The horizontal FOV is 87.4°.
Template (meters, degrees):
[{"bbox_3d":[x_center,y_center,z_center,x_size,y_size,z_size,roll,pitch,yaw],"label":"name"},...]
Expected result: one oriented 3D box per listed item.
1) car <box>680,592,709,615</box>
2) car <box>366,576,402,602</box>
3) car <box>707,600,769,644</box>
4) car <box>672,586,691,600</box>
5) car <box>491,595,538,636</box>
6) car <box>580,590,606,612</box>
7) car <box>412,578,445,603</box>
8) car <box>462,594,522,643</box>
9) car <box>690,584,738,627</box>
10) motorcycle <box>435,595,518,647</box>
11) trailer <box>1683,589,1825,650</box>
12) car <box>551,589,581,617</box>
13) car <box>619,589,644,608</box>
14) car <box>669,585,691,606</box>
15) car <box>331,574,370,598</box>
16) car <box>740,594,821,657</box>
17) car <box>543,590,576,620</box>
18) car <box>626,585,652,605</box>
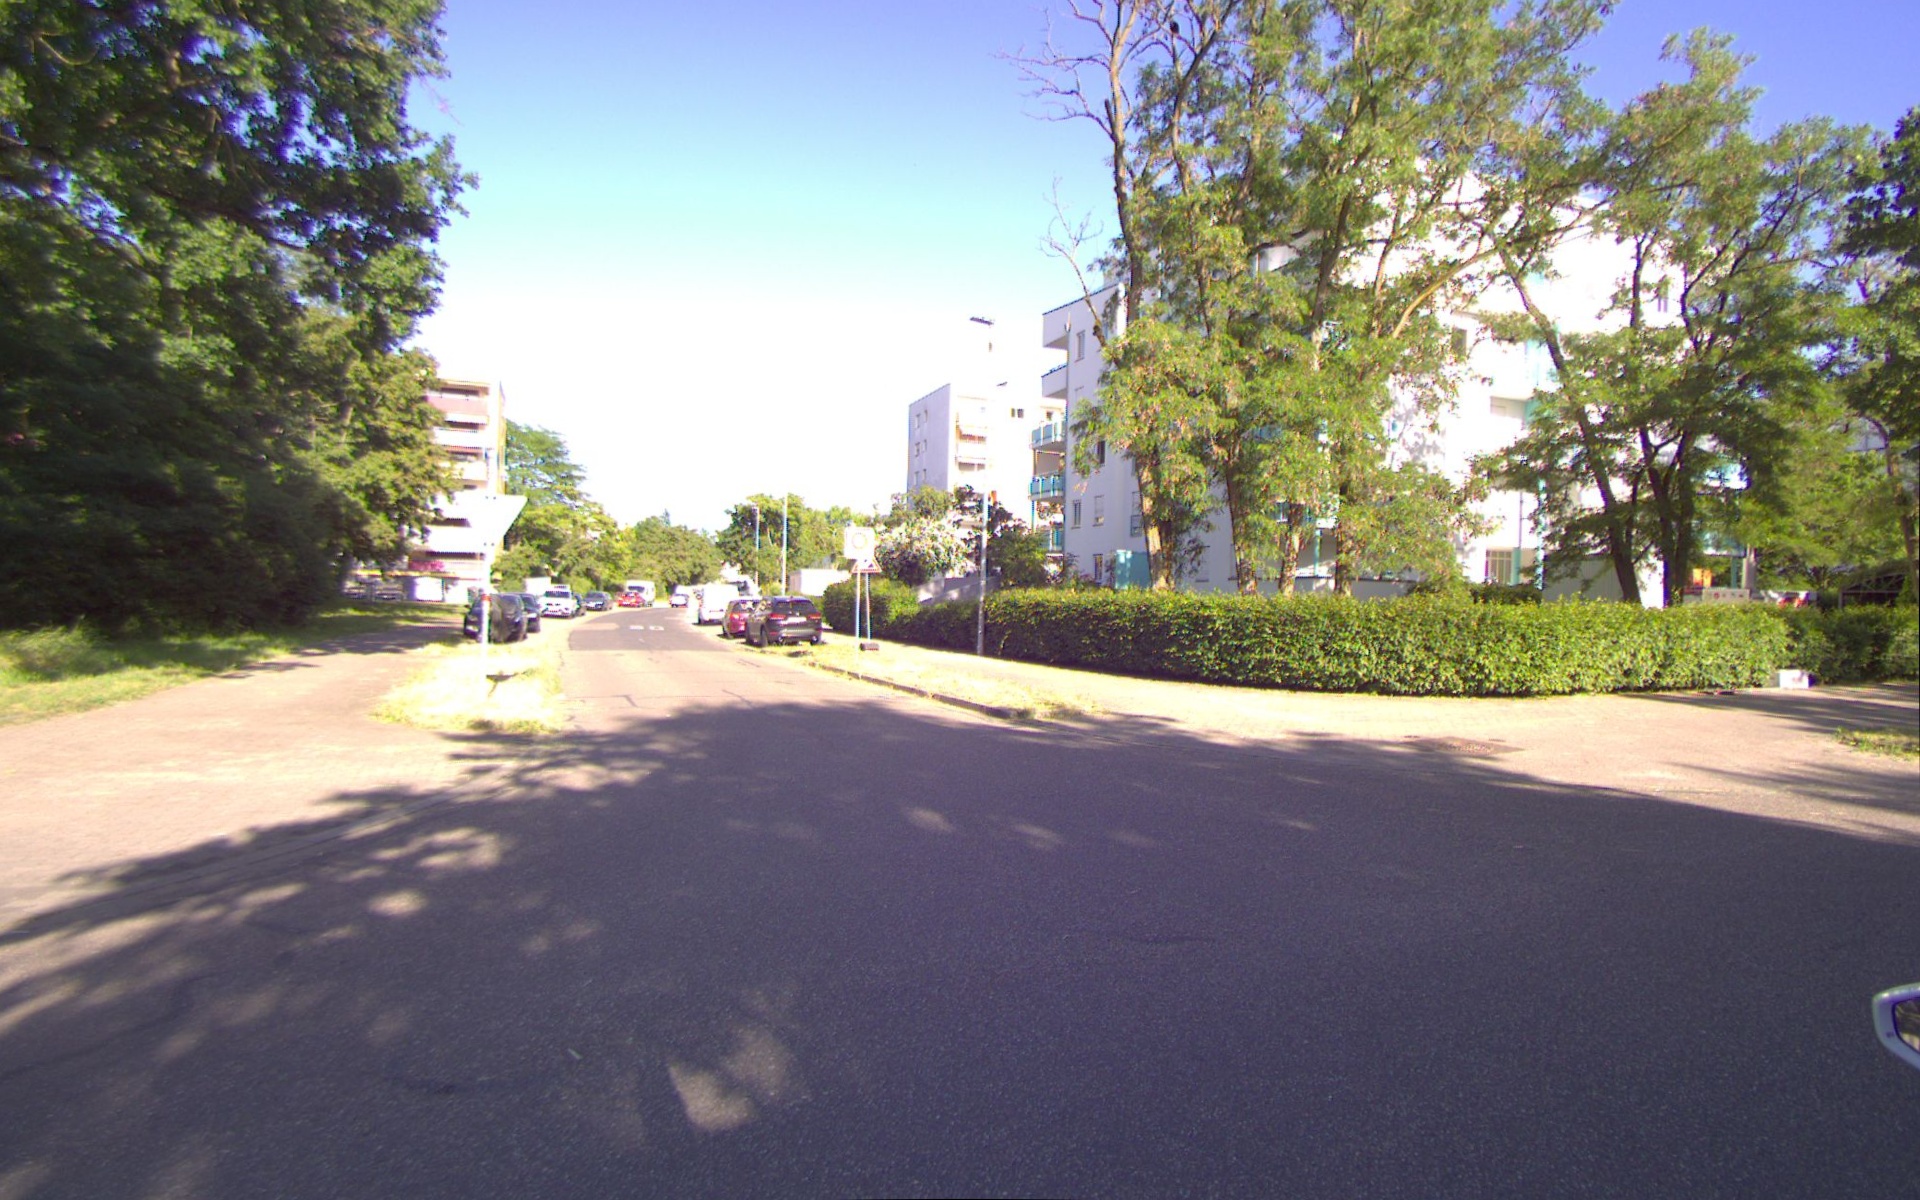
[{"bbox_3d":[-17.588,0.224,66.398,1.498,1.486,3.057,1,0,-22],"label":"car"},{"bbox_3d":[-41.321,-0.803,72.150,1.738,1.767,3.814,1,0,-23],"label":"car"},{"bbox_3d":[-8.495,0.809,38.185,1.615,1.531,3.814,1,0,-23],"label":"car"},{"bbox_3d":[-35.215,-0.874,127.093,1.860,1.662,3.992,1,0,-11],"label":"car"},{"bbox_3d":[-16.689,0.549,37.740,1.537,1.410,3.569,1,0,-23],"label":"car"},{"bbox_3d":[-27.456,0.067,75.113,1.622,1.578,3.814,1,0,-23],"label":"car"},{"bbox_3d":[-38.563,-0.683,72.954,1.738,1.767,3.814,1,0,-23],"label":"car"},{"bbox_3d":[-14.571,0.538,31.398,1.537,1.410,3.569,1,0,-23],"label":"car"},{"bbox_3d":[-12.601,0.269,51.330,1.802,2.088,3.814,1,0,-23],"label":"car"},{"bbox_3d":[-13.154,0.556,27.367,0.664,1.362,1.954,2,1,36],"label":"motorcycle"},{"bbox_3d":[27.999,0.684,35.421,4.363,2.070,1.973,1,0,-21],"label":"trailer"},{"bbox_3d":[-24.137,0.174,61.478,1.622,1.578,3.814,1,0,-23],"label":"car"},{"bbox_3d":[-30.448,-0.161,93.126,1.795,1.617,3.990,1,0,-12],"label":"car"},{"bbox_3d":[-28.693,-0.457,102.951,1.899,2.040,3.990,1,0,-13],"label":"car"},{"bbox_3d":[-43.010,-0.987,70.942,1.774,1.547,3.814,1,0,-23],"label":"car"},{"bbox_3d":[-5.751,0.760,31.840,1.732,1.808,3.814,1,0,-23],"label":"car"},{"bbox_3d":[-22.303,0.256,55.930,1.622,1.578,3.814,1,0,-23],"label":"car"},{"bbox_3d":[-31.360,-0.482,98.196,1.949,1.925,3.990,1,0,-12],"label":"car"}]
